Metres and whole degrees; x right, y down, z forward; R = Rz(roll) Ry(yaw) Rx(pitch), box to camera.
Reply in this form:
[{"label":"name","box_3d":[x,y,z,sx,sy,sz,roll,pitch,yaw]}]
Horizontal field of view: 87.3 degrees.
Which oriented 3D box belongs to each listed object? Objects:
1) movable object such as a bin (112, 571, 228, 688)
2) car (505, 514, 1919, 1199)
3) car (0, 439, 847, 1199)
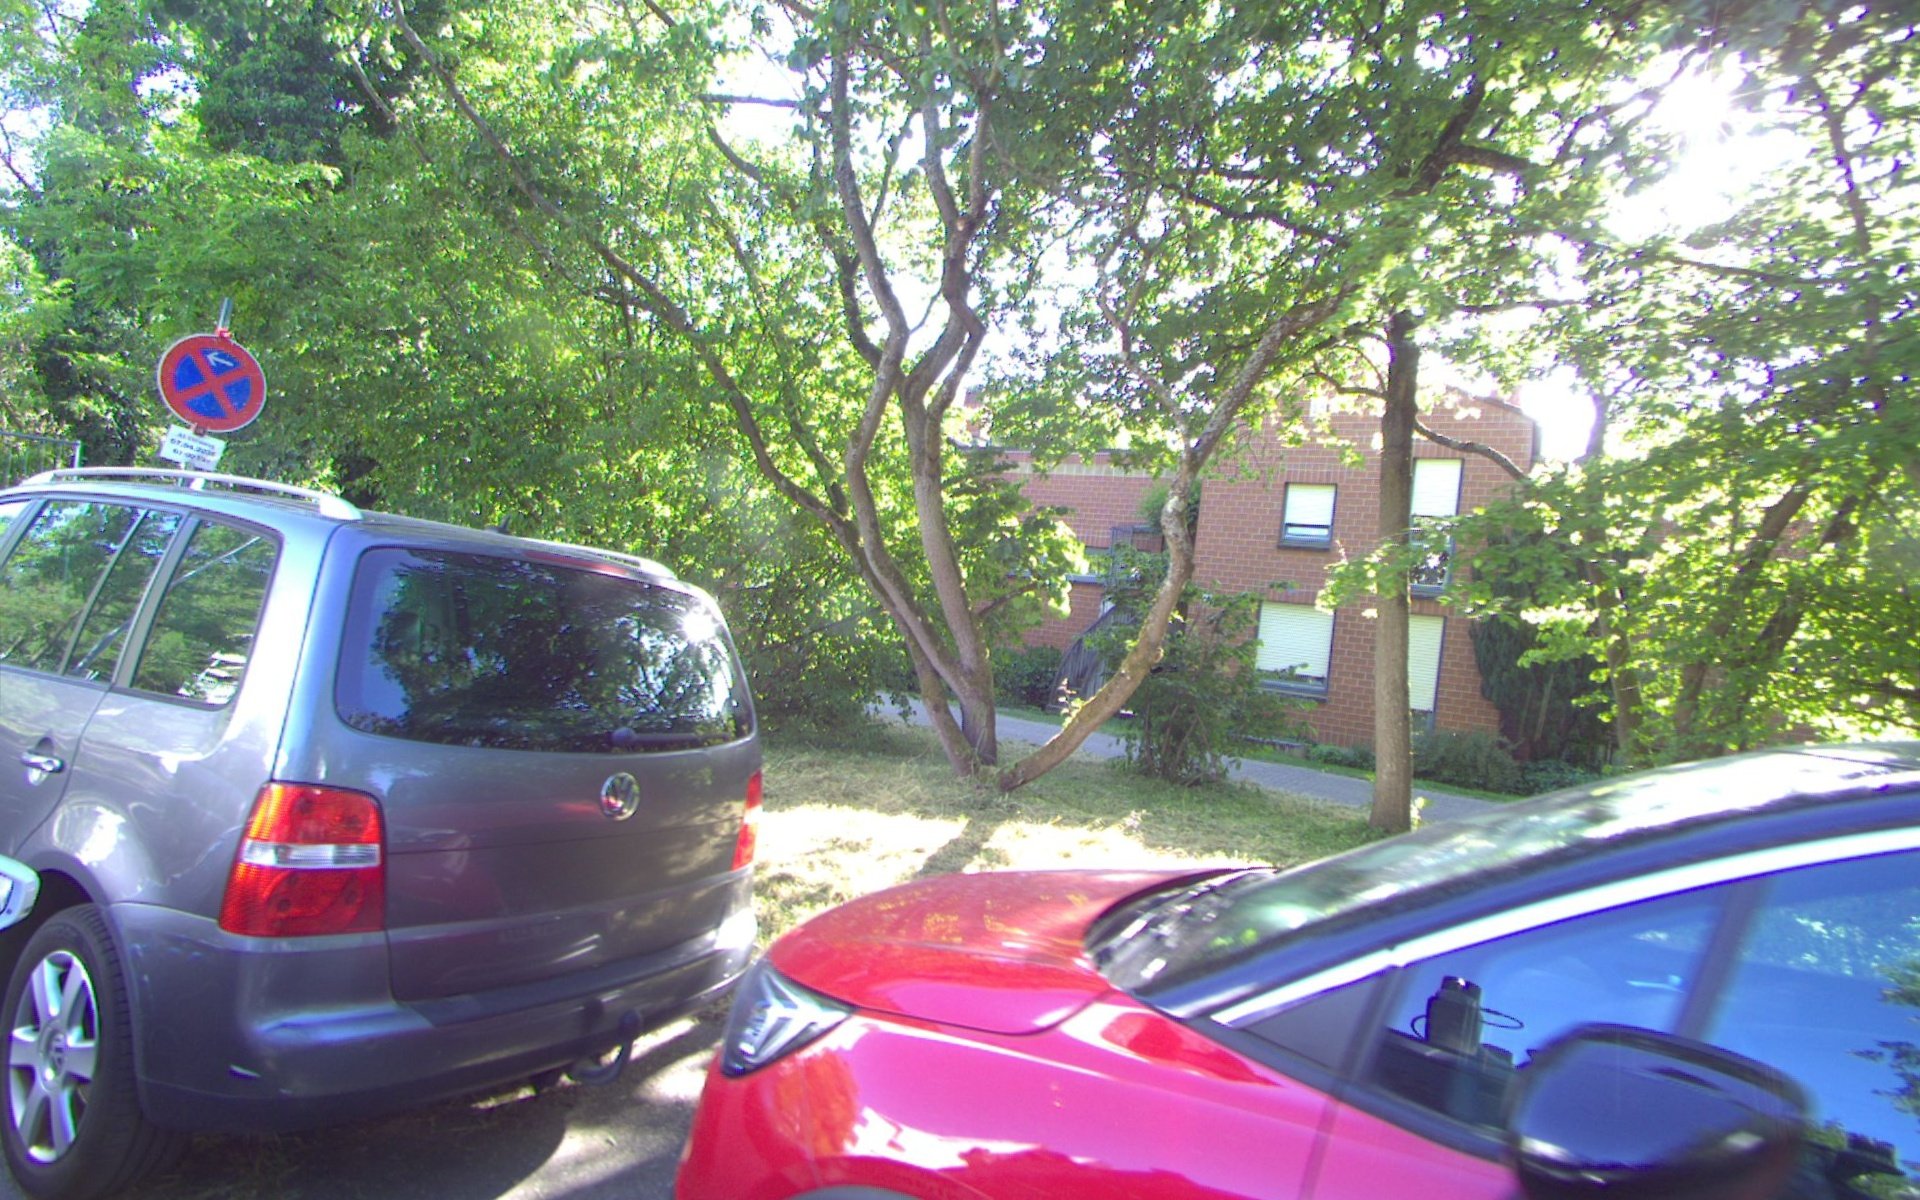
[{"label":"movable object such as a bin","box_3d":[-6.486,0.249,8.267,0.550,0.871,0.485,7,-1,28]},{"label":"car","box_3d":[1.399,0.930,1.341,3.999,1.592,1.682,7,-2,32]},{"label":"car","box_3d":[-2.625,0.445,3.529,4.067,1.640,1.683,7,-2,30]}]
